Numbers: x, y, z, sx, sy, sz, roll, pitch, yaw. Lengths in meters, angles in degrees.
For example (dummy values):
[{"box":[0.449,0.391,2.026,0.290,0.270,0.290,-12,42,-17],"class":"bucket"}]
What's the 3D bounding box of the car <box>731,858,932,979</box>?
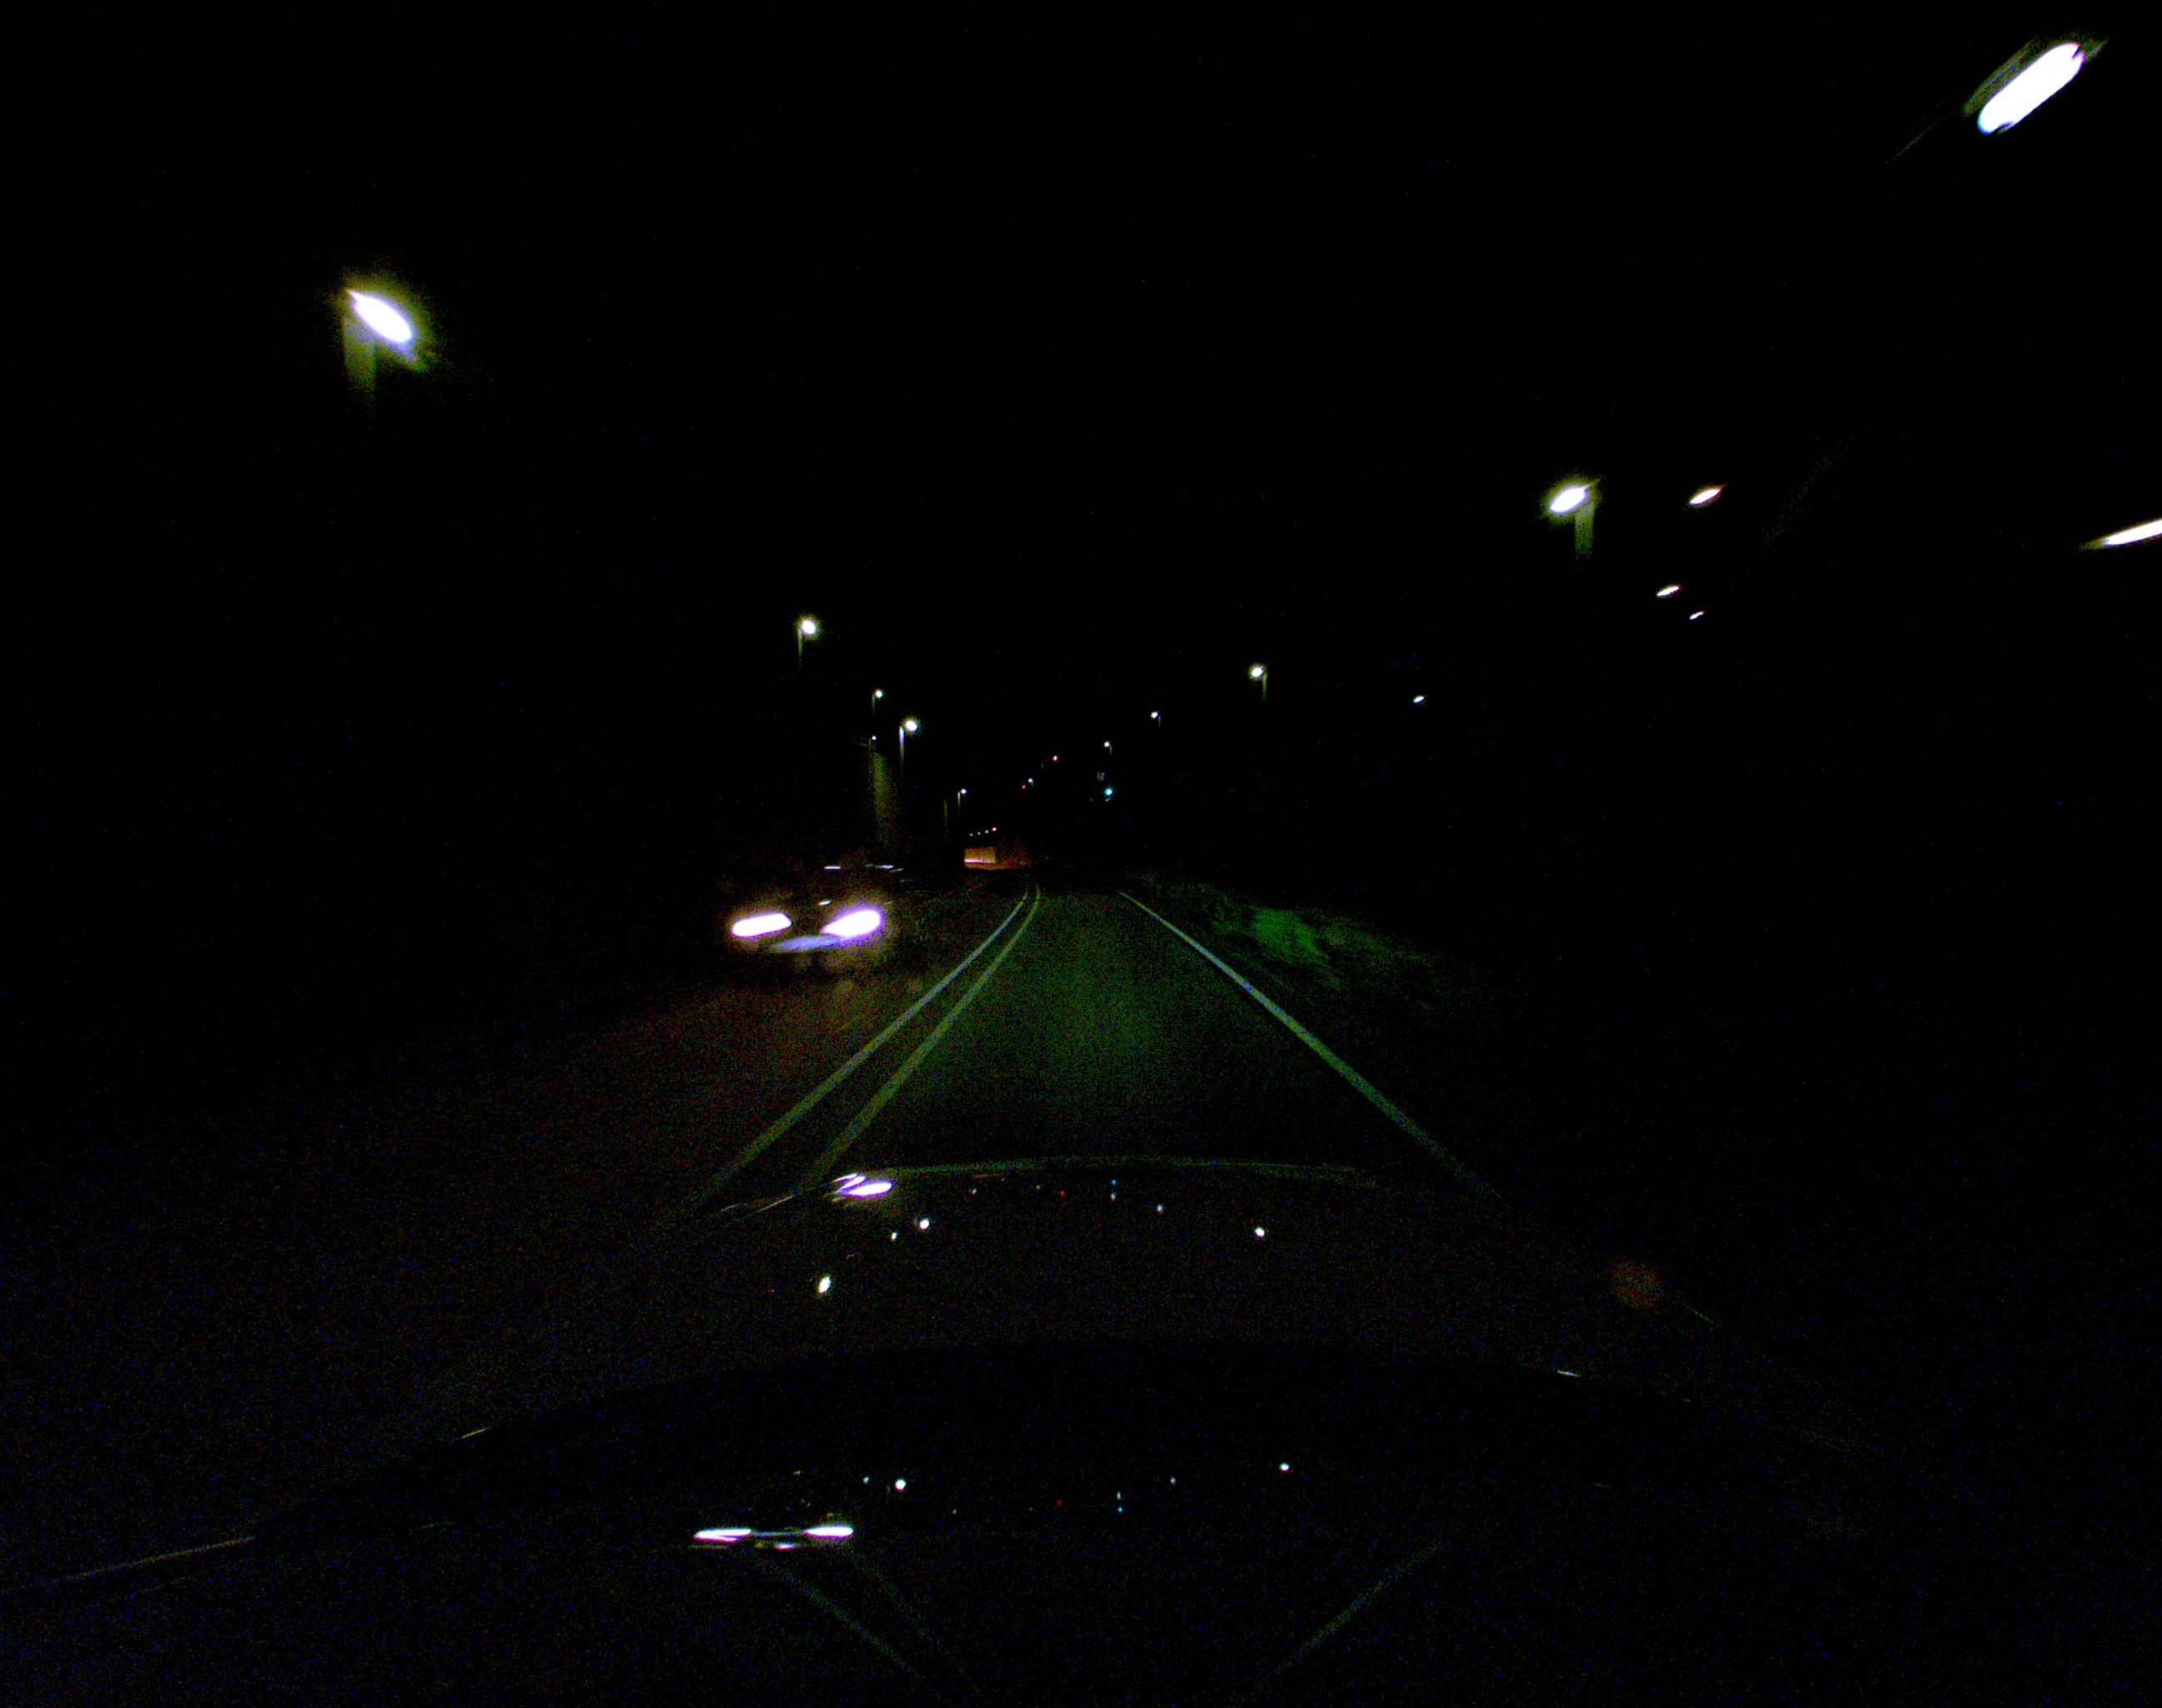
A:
[{"box":[-3.570,0.833,12.457,1.853,1.510,3.998,-1,0,-1],"class":"car"}]
